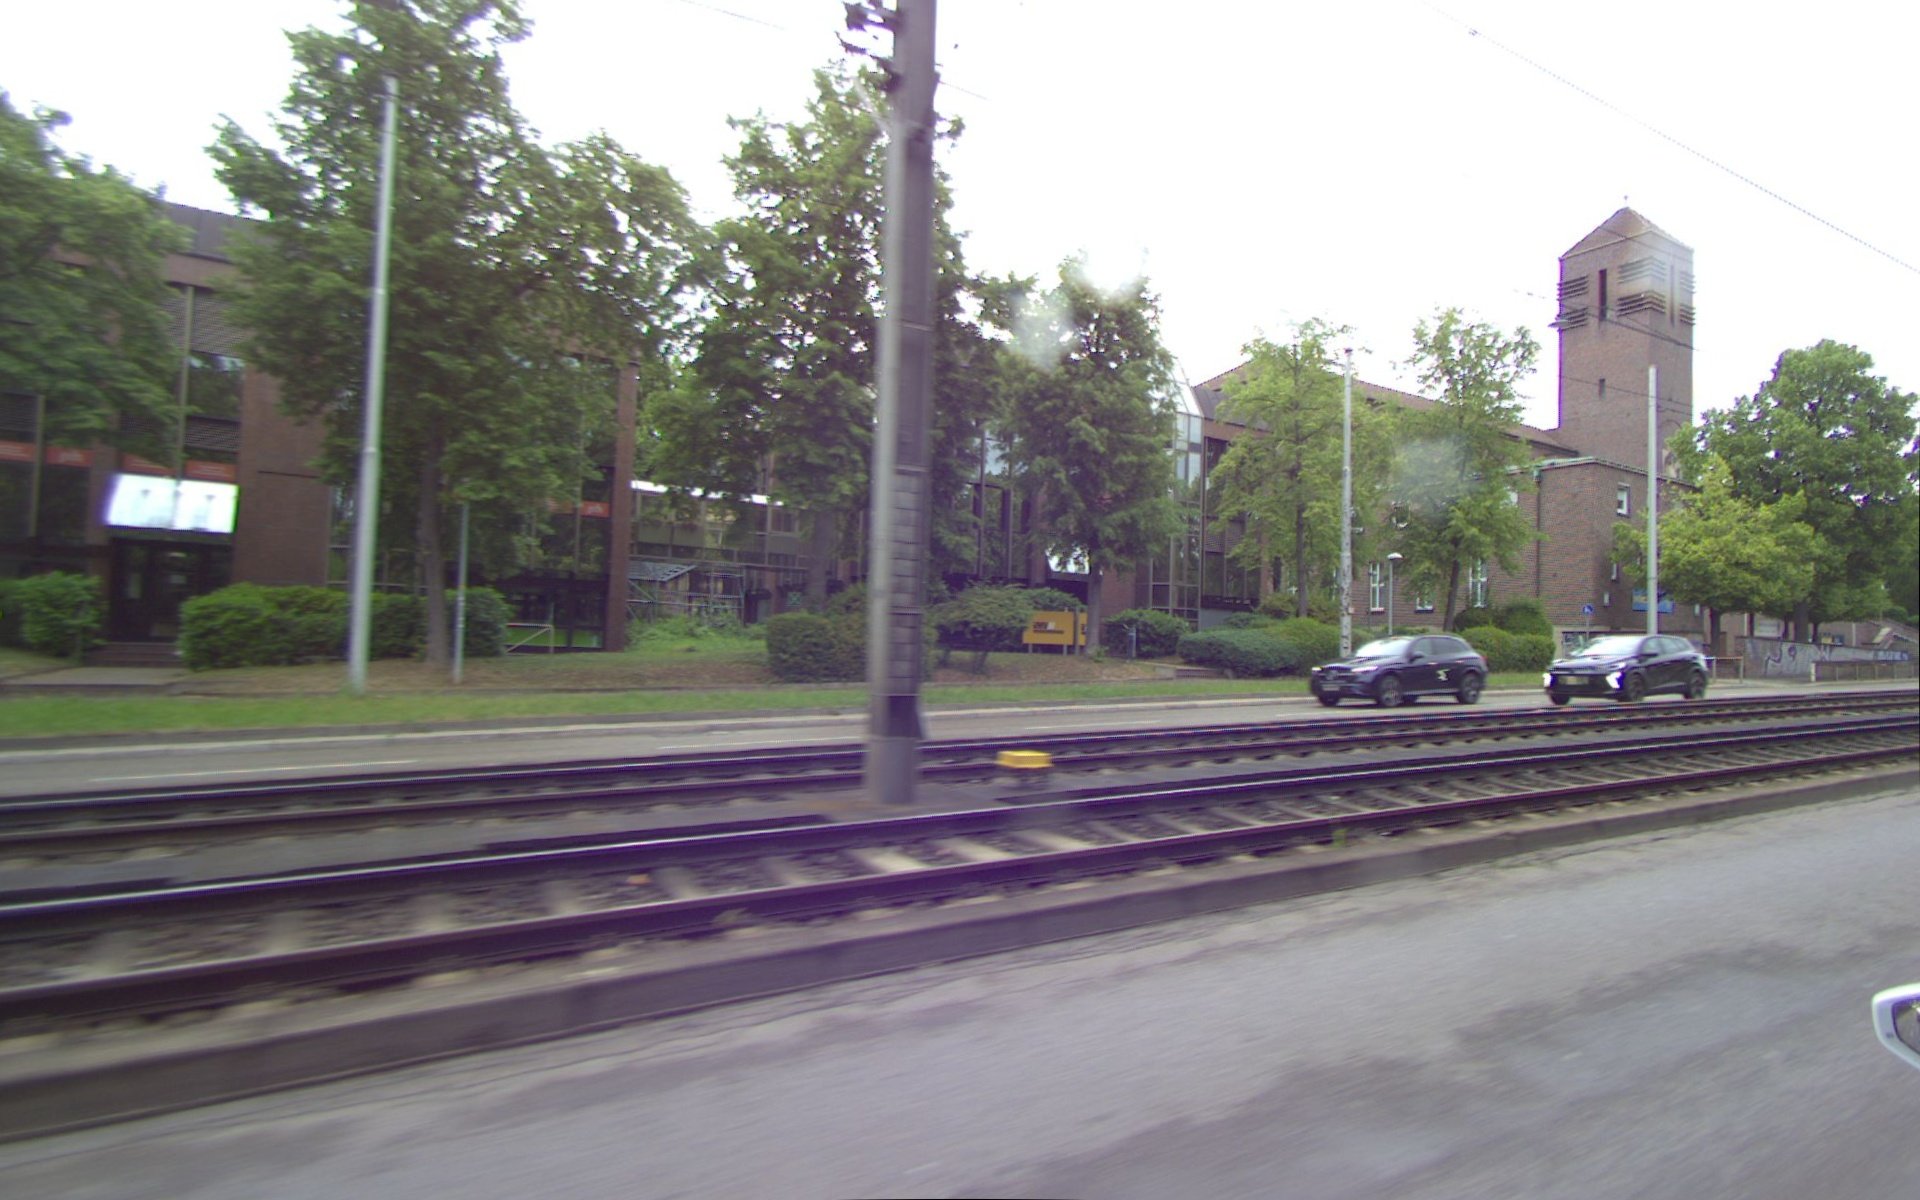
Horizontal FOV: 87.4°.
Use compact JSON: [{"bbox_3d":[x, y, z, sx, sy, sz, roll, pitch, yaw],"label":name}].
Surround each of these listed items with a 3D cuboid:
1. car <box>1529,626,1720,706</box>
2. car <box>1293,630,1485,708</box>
[{"bbox_3d":[15.107,1.444,22.828,4.185,1.678,1.828,1,-2,-27],"label":"car"},{"bbox_3d":[10.147,1.557,23.669,4.568,1.678,2.001,1,-2,-34],"label":"car"}]
